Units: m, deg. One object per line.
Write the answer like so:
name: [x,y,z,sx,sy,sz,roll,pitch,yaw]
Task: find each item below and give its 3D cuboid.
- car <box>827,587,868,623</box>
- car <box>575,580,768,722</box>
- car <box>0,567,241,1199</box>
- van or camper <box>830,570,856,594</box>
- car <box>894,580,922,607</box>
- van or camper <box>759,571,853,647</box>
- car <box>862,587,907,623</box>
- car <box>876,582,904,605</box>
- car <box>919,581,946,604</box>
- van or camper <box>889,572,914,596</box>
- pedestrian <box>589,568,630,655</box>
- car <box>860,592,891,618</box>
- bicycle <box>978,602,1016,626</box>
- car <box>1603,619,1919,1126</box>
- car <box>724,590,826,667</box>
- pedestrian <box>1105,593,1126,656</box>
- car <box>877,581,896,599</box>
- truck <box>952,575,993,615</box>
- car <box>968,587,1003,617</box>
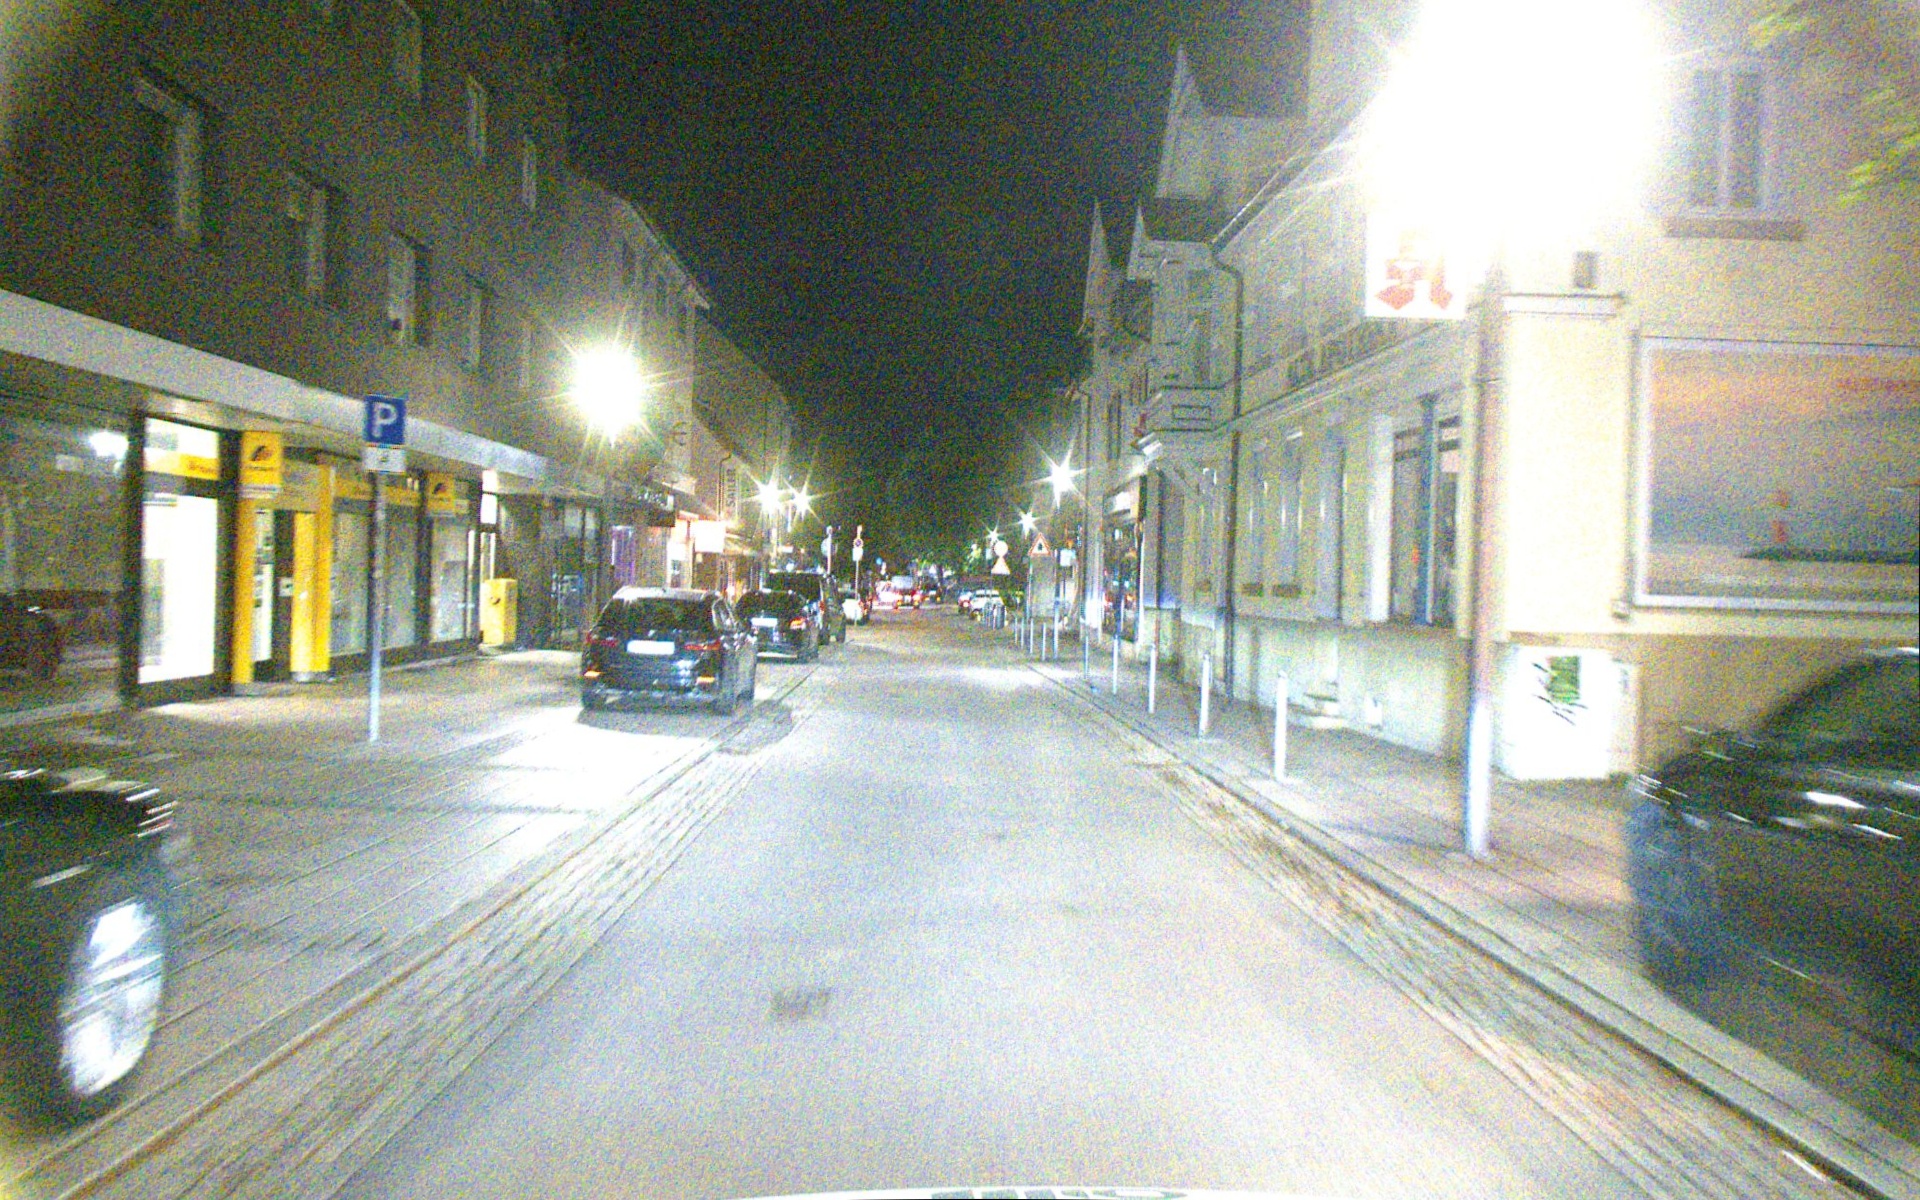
car: [-4.969,0.197,73.325,1.694,1.502,3.845,2,1,-3]
car: [-3.496,0.565,20.774,1.761,1.503,4.319,3,0,-2]
car: [-2.996,0.652,2.630,1.808,1.489,4.621,2,0,-3]
van or camper: [-10.245,-1.580,144.673,1.832,2.046,4.254,2,0,-8]
car: [-3.772,-0.490,119.042,1.954,1.855,3.998,1,1,-3]
van or camper: [-4.304,0.230,47.013,1.807,1.975,5.156,2,0,4]
car: [-3.574,0.205,78.969,1.979,1.513,5.005,4,1,-2]
car: [-5.714,-0.532,133.992,1.955,1.732,3.995,1,1,-7]
car: [-2.284,-0.678,138.120,1.781,1.860,4.340,0,1,-8]
van or camper: [-5.824,-1.621,164.183,2.069,2.357,4.254,0,1,-8]
pedestrian: [-7.350,0.238,34.712,0.608,1.776,1.022,2,0,-1]
car: [-5.490,0.290,106.922,1.642,1.570,4.224,2,1,-7]
bicycle: [1.705,0.648,75.663,1.720,1.080,0.346,1,0,-5]
car: [3.587,0.803,5.186,1.626,1.401,4.105,-1,0,2]
car: [-3.842,0.556,34.950,1.682,1.437,4.385,2,0,-1]
pedestrian: [3.959,0.610,42.103,0.490,1.574,0.480,2,0,5]
car: [-8.166,-1.098,182.718,1.804,1.934,3.840,1,1,-7]
truck: [0.745,-0.337,102.616,2.289,2.352,5.778,0,1,-2]
car: [1.324,0.097,87.123,1.753,1.517,4.058,-1,1,-1]
